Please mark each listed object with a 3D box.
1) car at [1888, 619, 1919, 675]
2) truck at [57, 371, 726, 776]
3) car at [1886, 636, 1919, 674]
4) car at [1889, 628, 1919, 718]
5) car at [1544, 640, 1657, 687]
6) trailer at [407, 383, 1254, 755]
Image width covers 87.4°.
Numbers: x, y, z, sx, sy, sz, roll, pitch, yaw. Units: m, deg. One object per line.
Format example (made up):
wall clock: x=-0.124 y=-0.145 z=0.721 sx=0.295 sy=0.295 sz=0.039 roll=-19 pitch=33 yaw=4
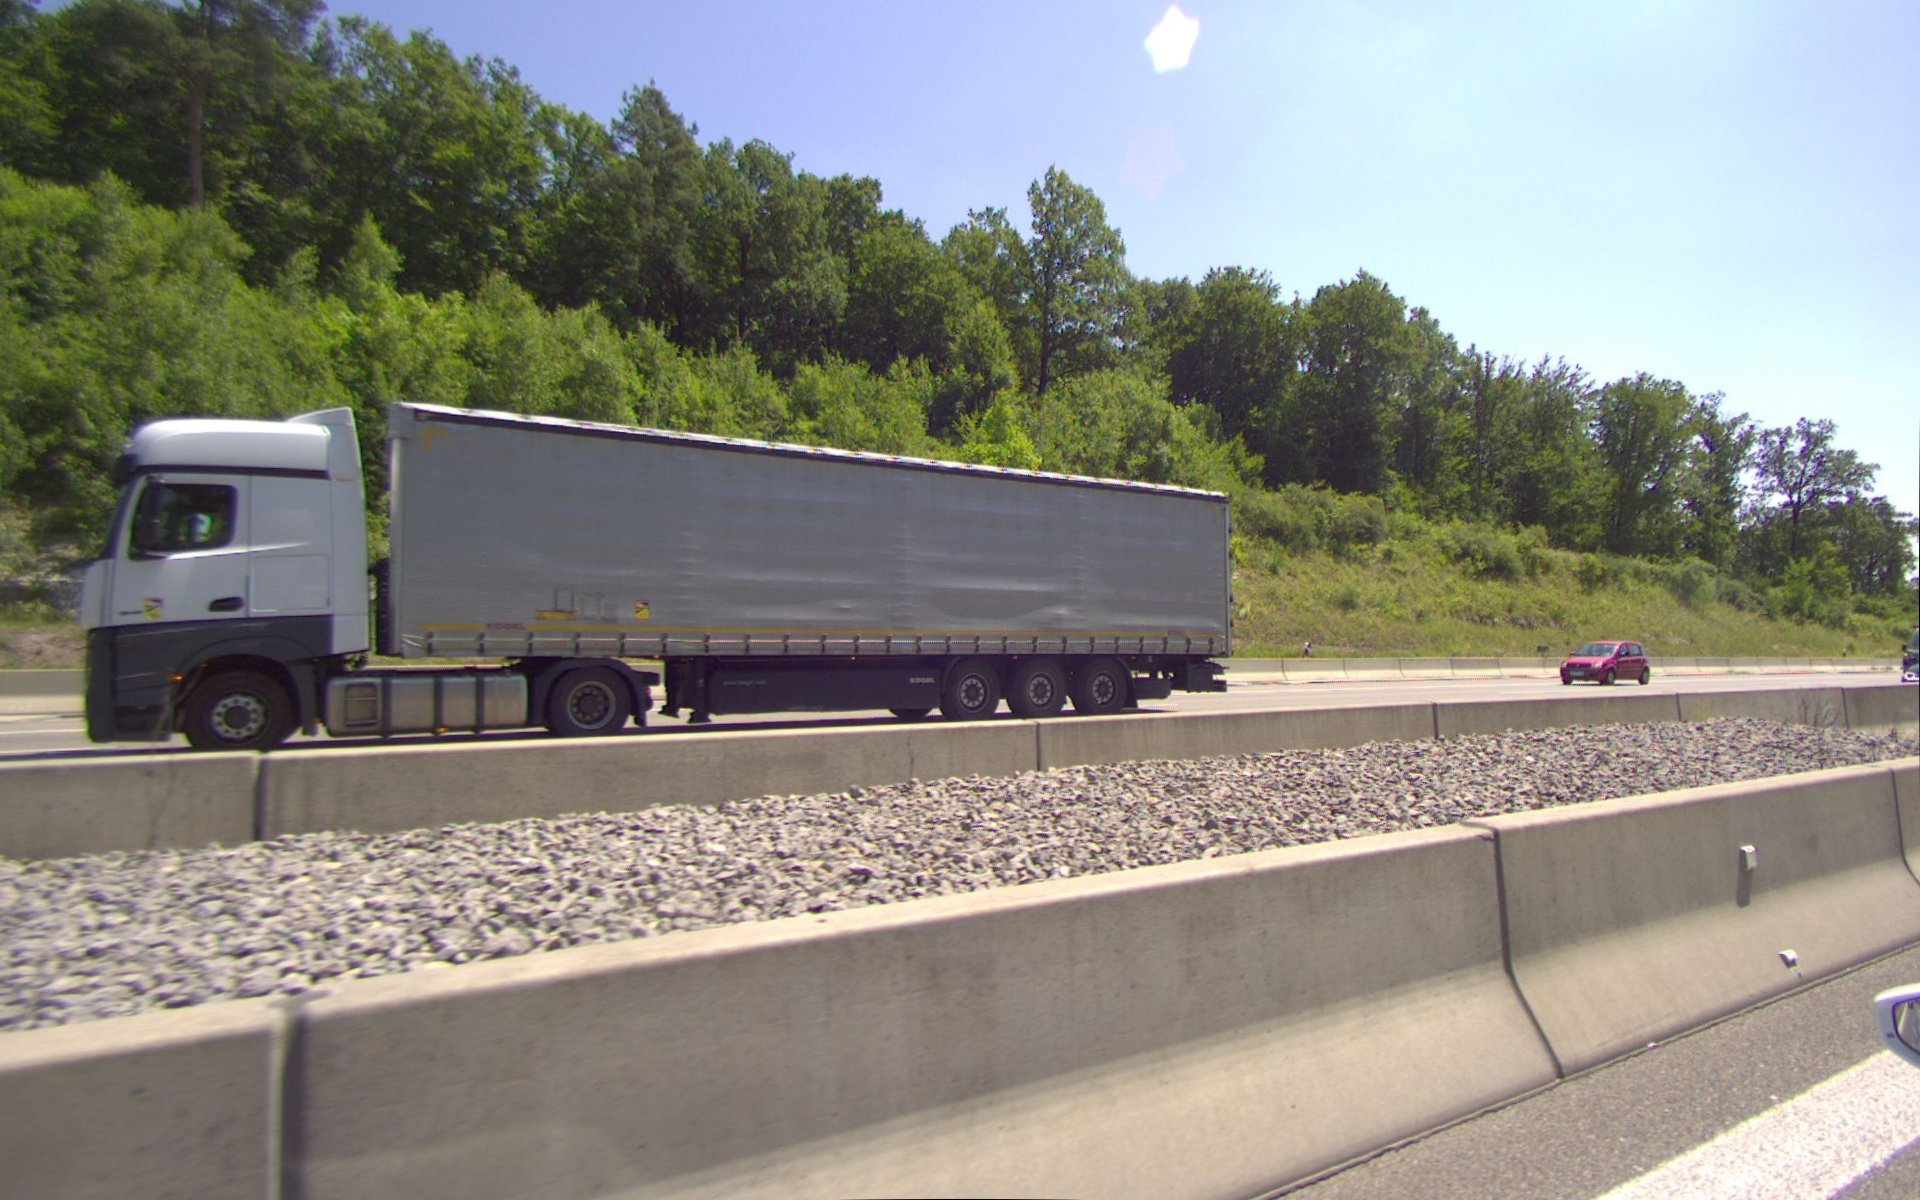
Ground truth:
car: x=48.853 y=2.346 z=49.936 sx=6.700 sy=2.698 sz=2.131 roll=2 pitch=-3 yaw=-31
truck: x=-6.850 y=-0.160 z=13.131 sx=6.718 sy=4.035 sz=3.250 roll=1 pitch=-2 yaw=-30
car: x=38.269 y=2.168 z=39.404 sx=4.388 sy=1.426 sz=1.659 roll=2 pitch=-2 yaw=-31
car: x=21.444 y=1.510 z=20.942 sx=4.416 sy=1.800 sz=1.862 roll=1 pitch=-2 yaw=-31
car: x=22.366 y=2.190 z=35.066 sx=3.676 sy=1.520 sz=1.862 roll=1 pitch=-2 yaw=-31
trailer: x=-1.201 y=-0.163 z=16.479 sx=13.680 sy=4.309 sz=3.086 roll=1 pitch=-3 yaw=-31
